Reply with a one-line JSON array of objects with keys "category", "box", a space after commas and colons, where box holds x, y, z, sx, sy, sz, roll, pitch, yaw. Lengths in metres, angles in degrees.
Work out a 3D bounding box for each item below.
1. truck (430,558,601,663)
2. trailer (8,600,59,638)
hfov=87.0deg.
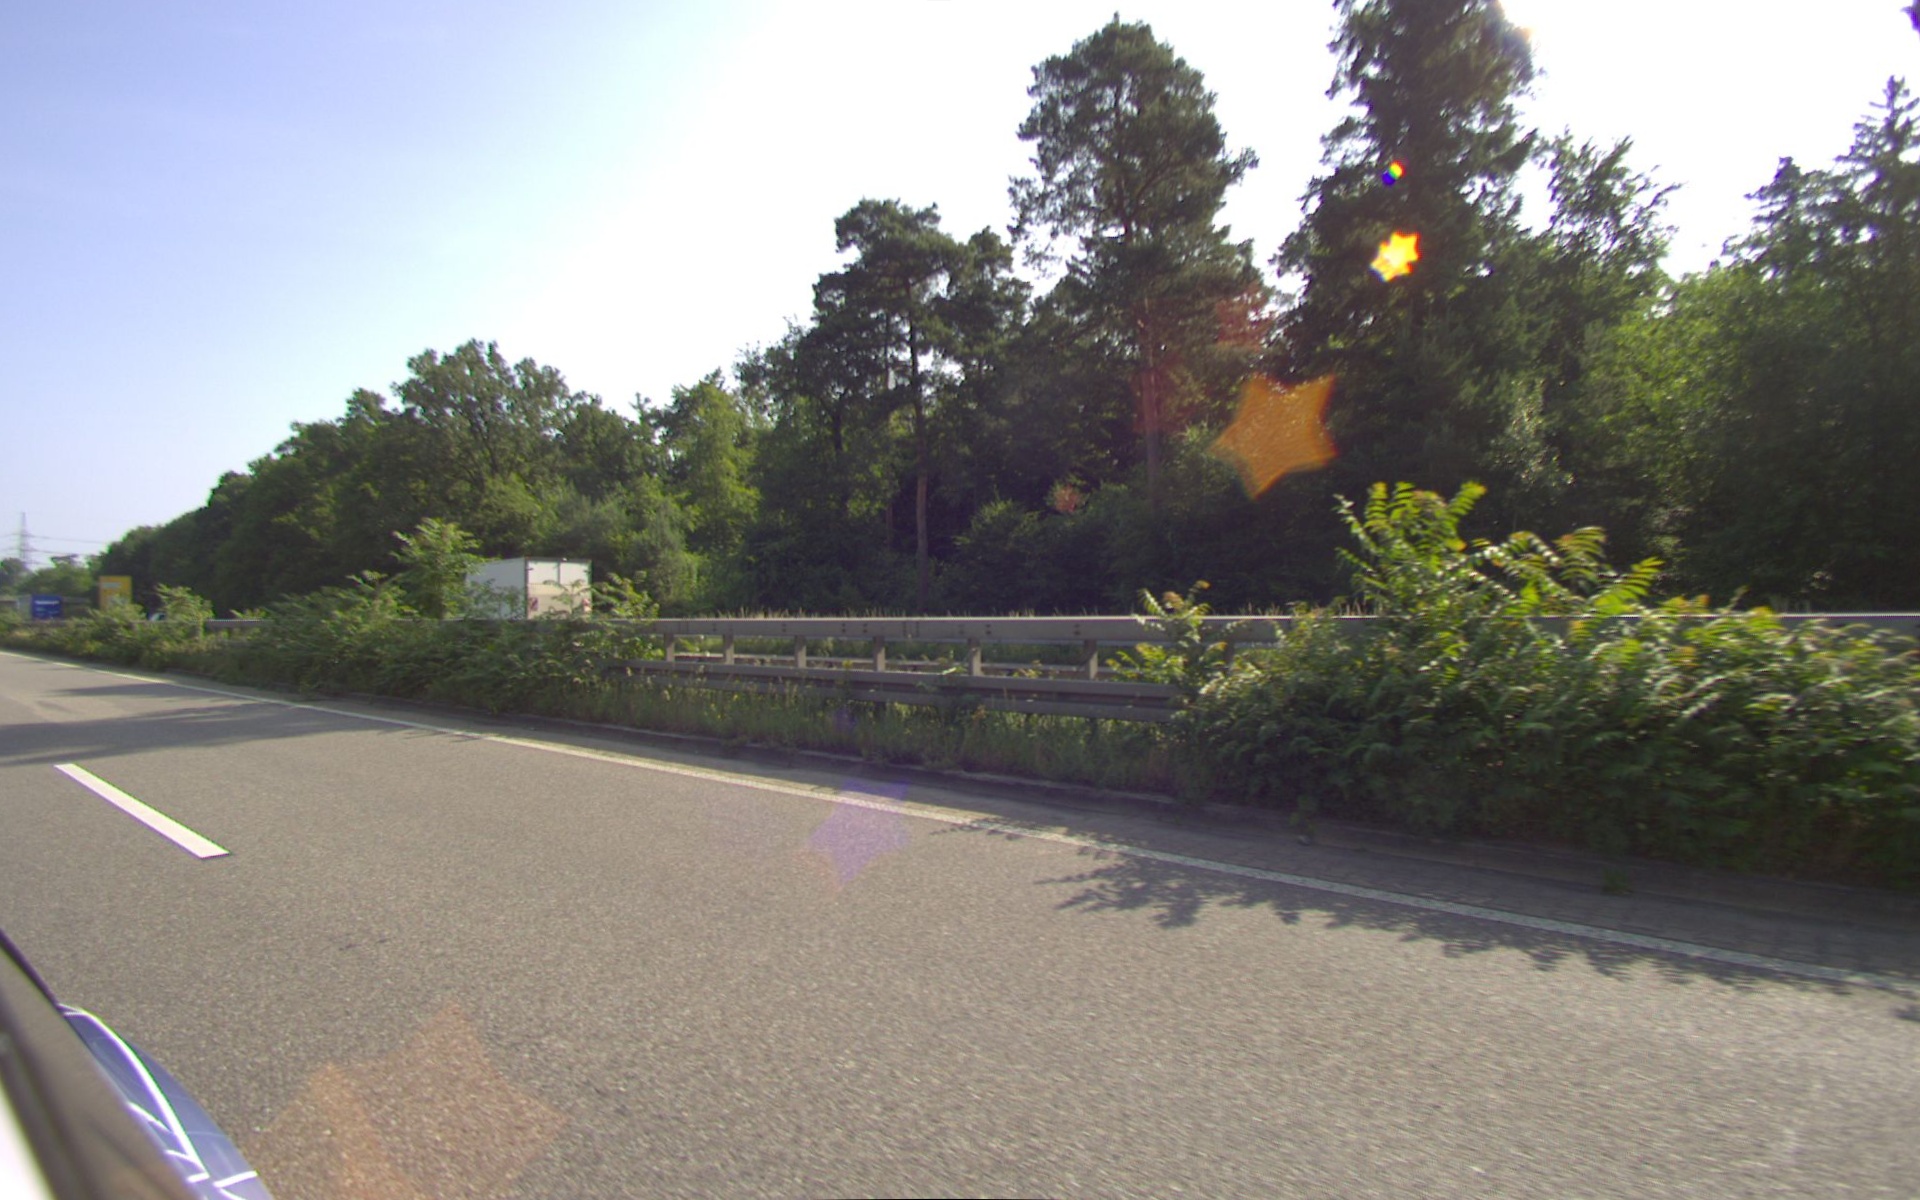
[{"category": "truck", "box": [-15.138, 0.403, 34.166, 7.224, 3.201, 2.436, -1, -2, 41]}, {"category": "trailer", "box": [-102.415, 2.190, 111.772, 13.319, 4.039, 2.862, -2, -3, 42]}]
